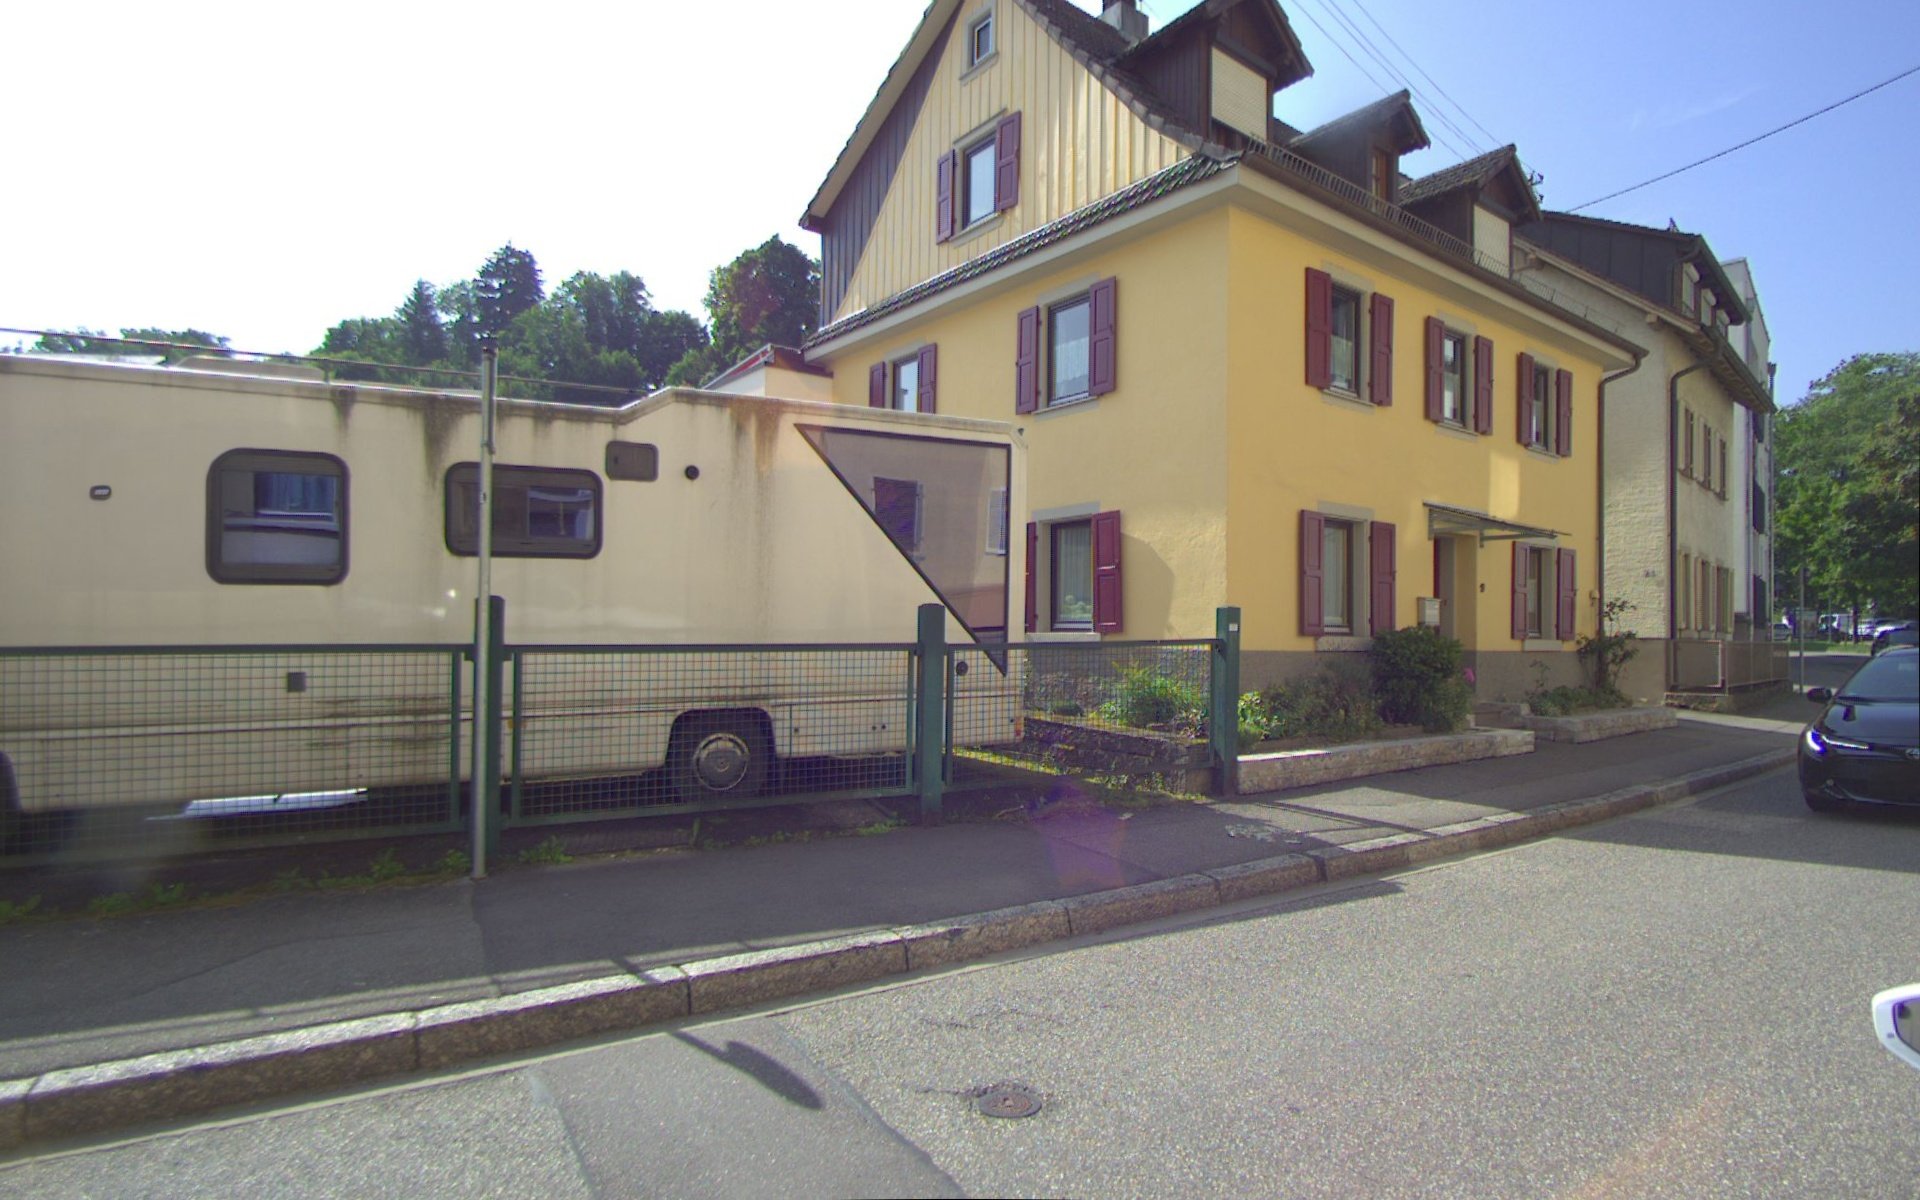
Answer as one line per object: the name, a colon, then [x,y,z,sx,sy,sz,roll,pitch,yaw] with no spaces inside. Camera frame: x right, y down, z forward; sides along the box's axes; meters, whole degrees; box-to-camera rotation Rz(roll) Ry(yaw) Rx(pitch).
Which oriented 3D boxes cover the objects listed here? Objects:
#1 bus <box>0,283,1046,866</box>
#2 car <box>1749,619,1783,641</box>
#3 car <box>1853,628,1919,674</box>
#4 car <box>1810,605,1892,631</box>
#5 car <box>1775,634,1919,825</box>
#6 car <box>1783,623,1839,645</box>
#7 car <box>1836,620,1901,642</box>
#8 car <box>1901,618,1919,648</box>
bus: [-3.839,-0.109,8.060,8.922,3.271,2.809,1,0,-28]
car: [60.033,2.233,74.825,1.721,1.572,3.741,0,-1,35]
car: [34.465,1.833,36.803,1.798,1.557,3.992,-4,-4,31]
car: [67.293,1.355,75.872,4.611,1.879,1.999,1,-1,-5]
car: [9.106,1.039,9.048,4.217,1.468,1.648,1,-5,-36]
car: [58.724,2.330,69.398,1.644,1.487,3.412,0,-1,15]
car: [65.297,2.224,72.224,3.938,1.572,1.808,1,-1,-19]
car: [53.582,1.811,55.088,1.682,1.563,3.996,-1,-1,25]
